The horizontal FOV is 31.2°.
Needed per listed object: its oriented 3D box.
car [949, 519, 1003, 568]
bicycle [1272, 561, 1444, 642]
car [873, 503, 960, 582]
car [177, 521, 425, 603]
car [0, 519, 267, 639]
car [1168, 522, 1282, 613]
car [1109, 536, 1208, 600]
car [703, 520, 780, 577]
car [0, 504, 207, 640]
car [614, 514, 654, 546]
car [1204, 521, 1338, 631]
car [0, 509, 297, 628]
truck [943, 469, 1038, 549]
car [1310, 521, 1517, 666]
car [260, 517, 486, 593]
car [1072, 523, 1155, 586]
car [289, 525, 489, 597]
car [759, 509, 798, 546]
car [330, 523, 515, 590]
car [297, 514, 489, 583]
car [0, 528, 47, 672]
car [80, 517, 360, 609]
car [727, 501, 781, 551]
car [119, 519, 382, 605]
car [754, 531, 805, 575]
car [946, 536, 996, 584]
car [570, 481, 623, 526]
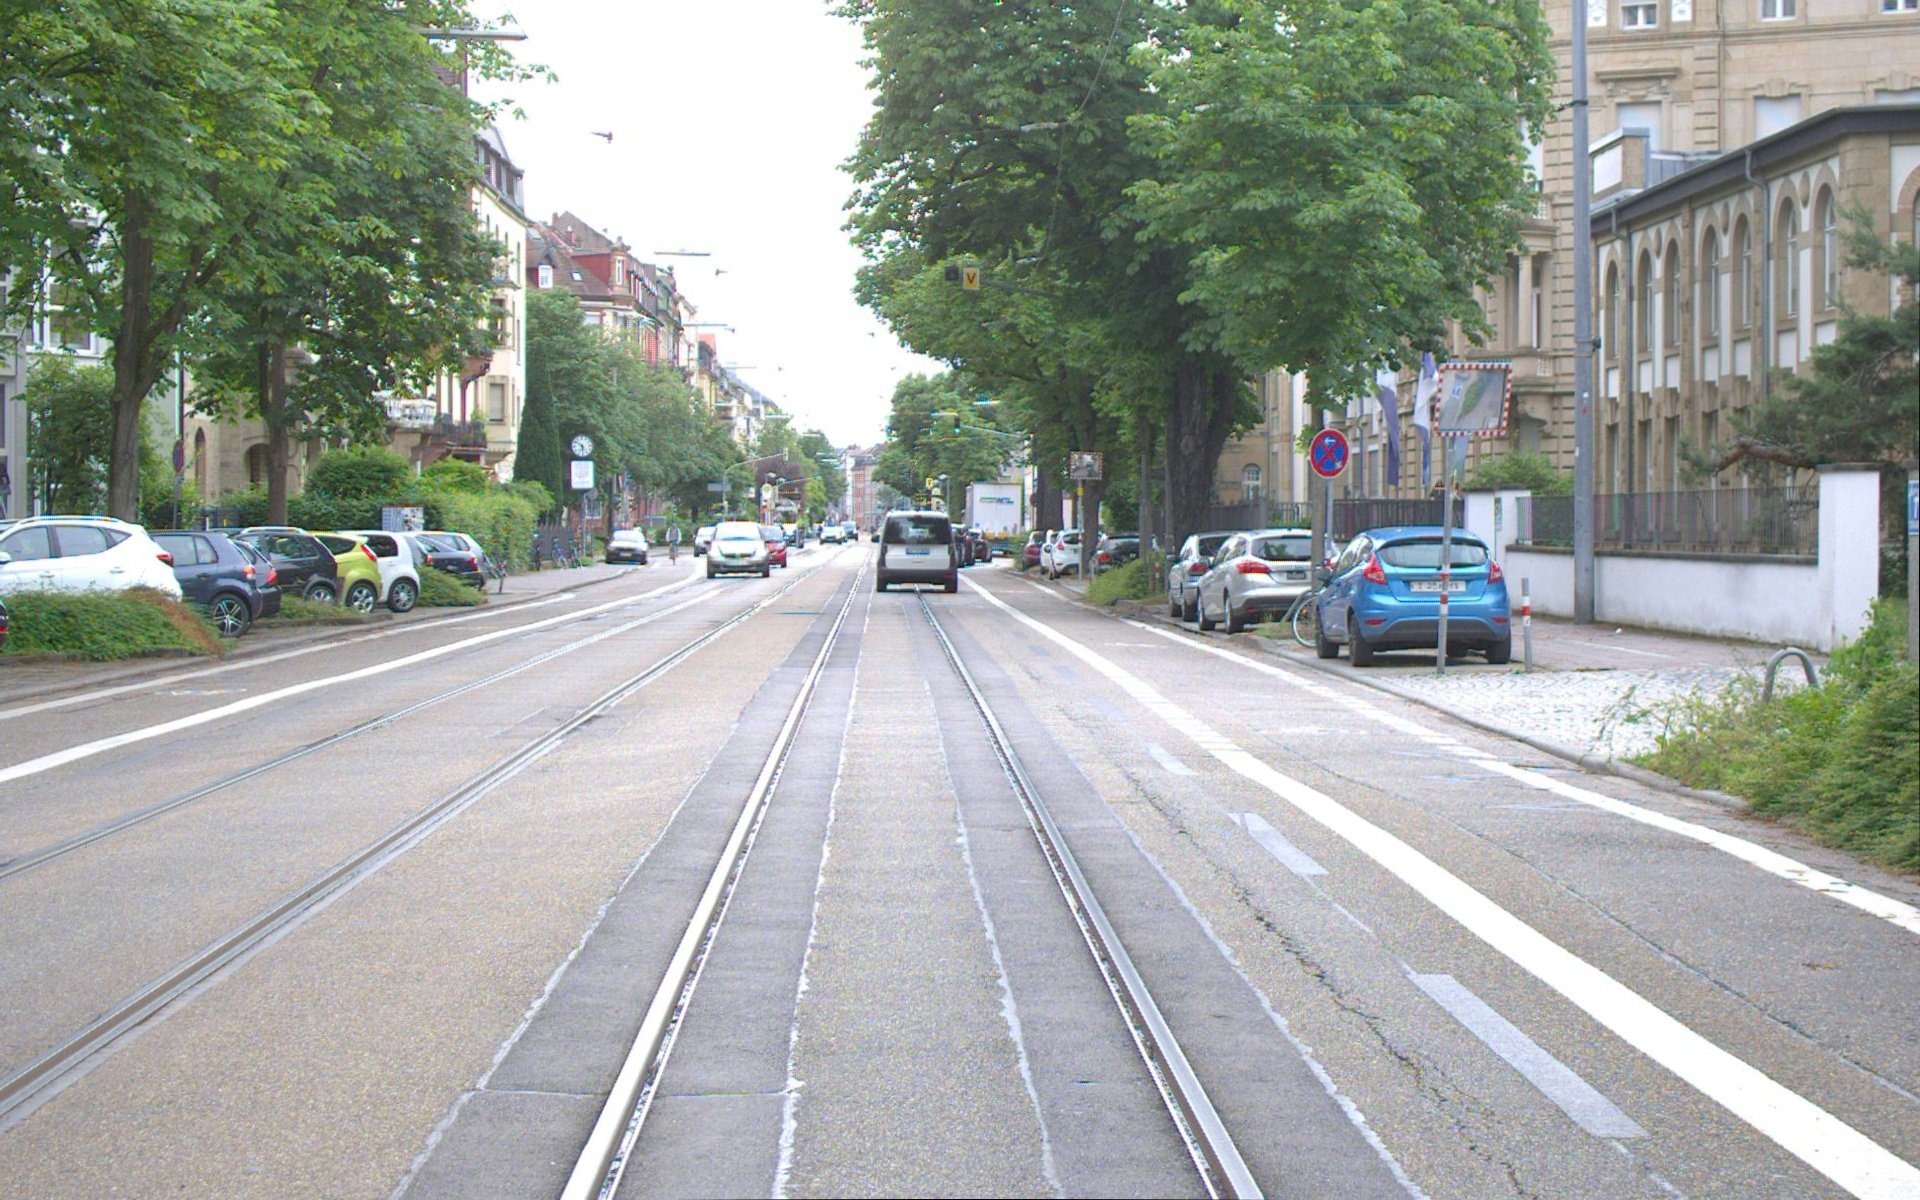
[{"bbox_3d":[0.597,-2.111,128.046,1.993,1.787,4.000,0,1,0],"label":"car"},{"bbox_3d":[4.855,0.015,41.984,2.012,0.953,0.534,0,1,-4],"label":"bicycle"},{"bbox_3d":[-0.951,-1.292,77.672,1.812,1.702,3.699,1,1,1],"label":"car"},{"bbox_3d":[-11.426,-0.658,59.741,1.699,1.347,3.958,3,2,44],"label":"car"},{"bbox_3d":[-11.102,-0.279,43.537,1.699,1.449,4.335,3,2,44],"label":"car"},{"bbox_3d":[4.316,-0.553,56.286,1.475,1.424,3.566,1,1,-2],"label":"car"},{"bbox_3d":[4.051,-0.677,70.741,1.873,1.247,4.000,0,1,1],"label":"car"},{"bbox_3d":[-6.172,-1.484,97.429,1.900,1.525,3.754,-1,1,0],"label":"car"},{"bbox_3d":[-11.148,-0.348,40.387,1.698,1.550,4.336,2,2,40],"label":"car"},{"bbox_3d":[-13.936,-3.012,147.216,1.641,1.349,3.878,1,1,-5],"label":"car"},{"bbox_3d":[4.413,-0.369,49.196,1.475,1.476,3.566,1,1,-2],"label":"car"},{"bbox_3d":[-11.336,-0.430,46.805,1.699,1.530,4.335,3,2,44],"label":"car"},{"bbox_3d":[1.523,-4.732,179.417,3.807,4.015,10.220,0,1,-6],"label":"truck"},{"bbox_3d":[4.862,-0.106,37.264,1.674,1.455,3.433,1,1,-2],"label":"car"},{"bbox_3d":[-11.055,-0.841,64.915,1.699,1.347,3.958,3,2,44],"label":"car"},{"bbox_3d":[3.507,-1.057,78.990,1.791,1.394,3.795,0,1,1],"label":"car"},{"bbox_3d":[-11.707,-0.799,70.472,3.707,1.381,1.700,1,1,-25],"label":"car"},{"bbox_3d":[-11.165,-4.492,211.593,2.205,2.248,4.000,0,1,-1],"label":"car"},{"bbox_3d":[-11.968,-0.964,76.538,3.707,1.381,1.700,1,1,-25],"label":"car"},{"bbox_3d":[-12.099,-1.094,73.336,3.707,1.381,1.700,1,1,-25],"label":"car"},{"bbox_3d":[-11.144,-0.028,33.446,4.016,1.401,1.699,0,2,-39],"label":"car"},{"bbox_3d":[-11.463,-0.570,53.398,1.699,1.347,3.958,3,2,44],"label":"car"},{"bbox_3d":[-10.024,-3.622,167.675,2.205,2.409,4.000,0,1,3],"label":"car"},{"bbox_3d":[-11.647,-0.617,56.608,1.699,1.347,3.958,3,2,44],"label":"car"},{"bbox_3d":[-6.409,-1.674,122.370,1.676,1.517,2.782,1,1,-1],"label":"car"},{"bbox_3d":[0.465,-1.746,149.551,1.993,2.007,4.001,0,1,-3],"label":"car"},{"bbox_3d":[-18.212,-4.835,172.378,2.177,2.199,4.219,0,1,0],"label":"car"}]
